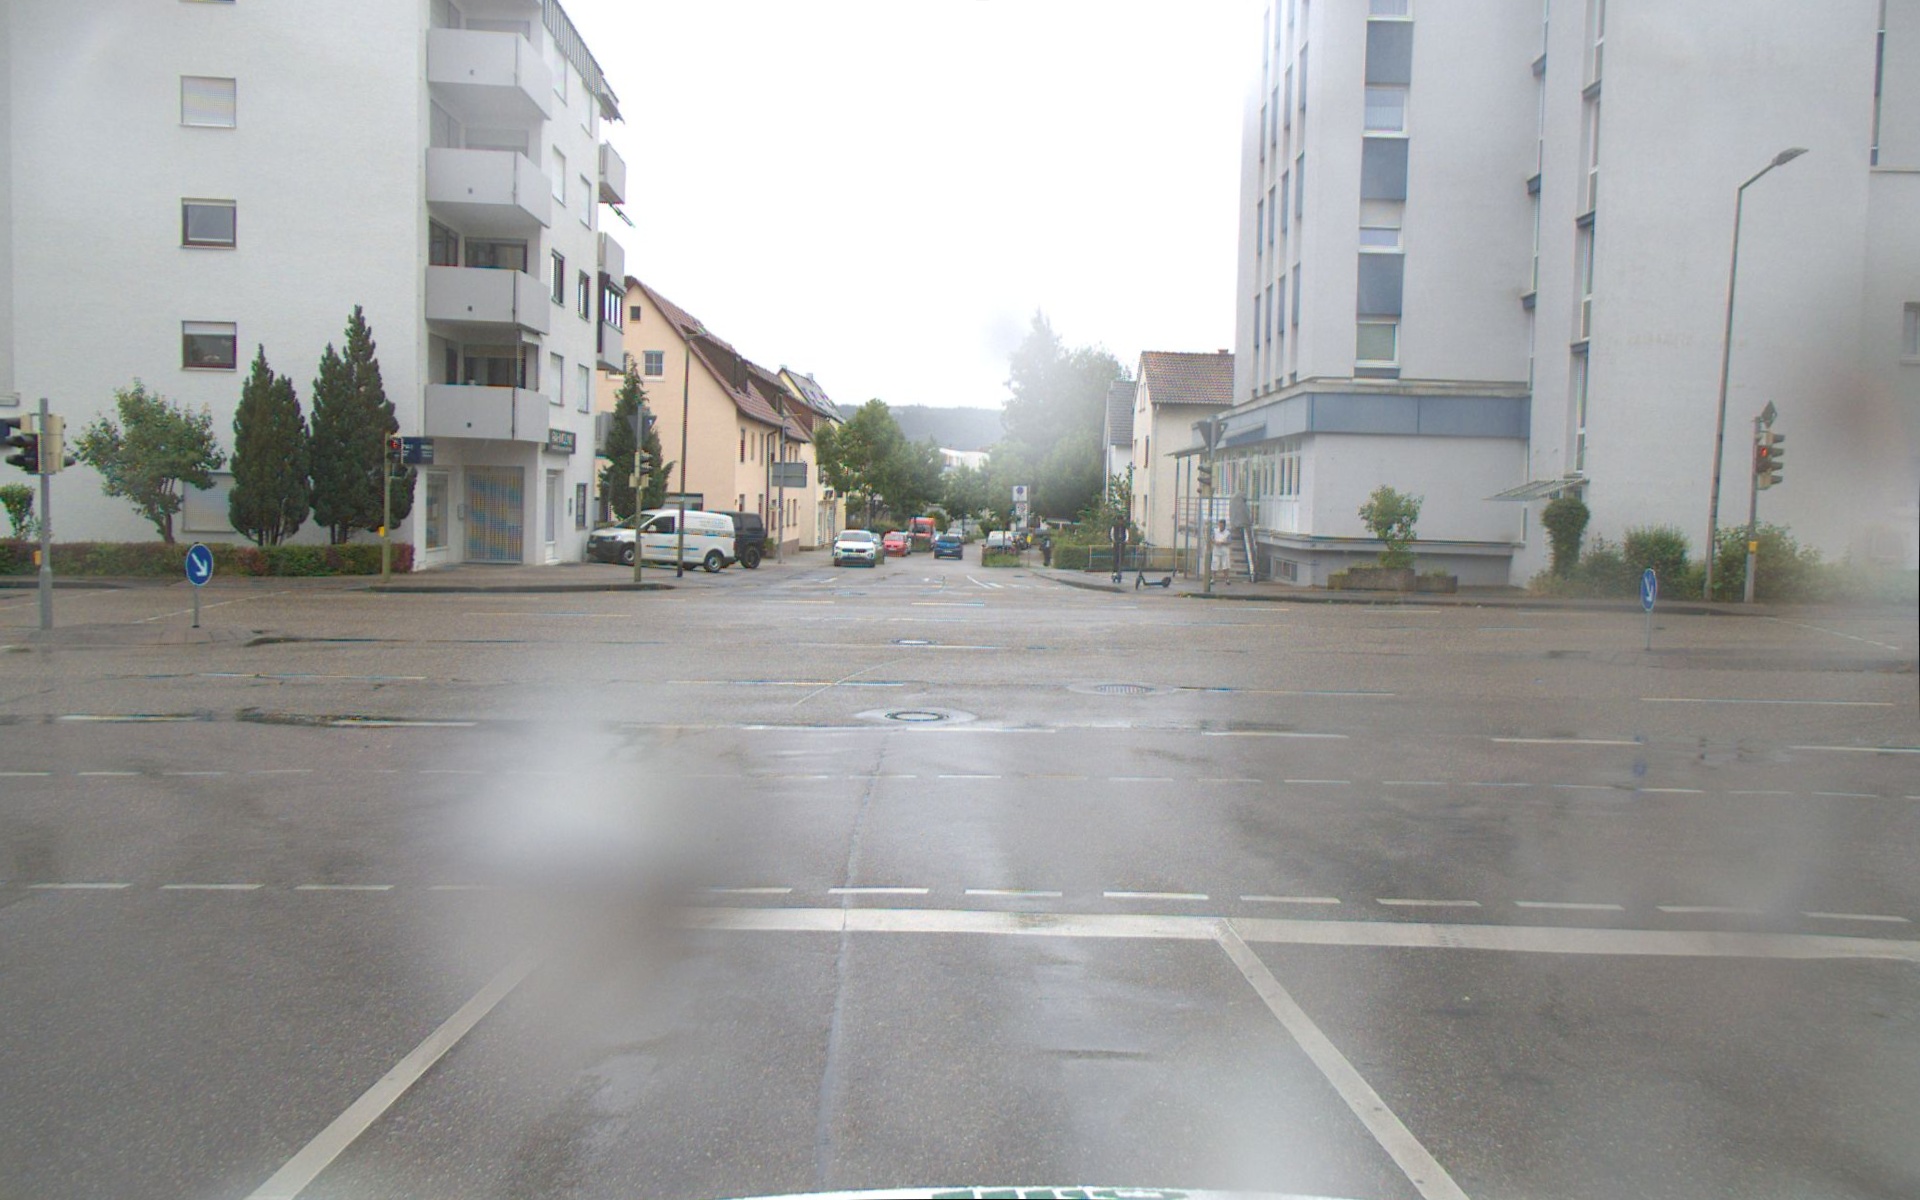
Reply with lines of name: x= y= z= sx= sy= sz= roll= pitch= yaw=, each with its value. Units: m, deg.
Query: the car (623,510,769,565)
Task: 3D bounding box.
car: x=-9.314 y=-2.190 z=58.495 sx=4.796 sy=1.867 sz=1.972 roll=-1 pitch=2 yaw=-39

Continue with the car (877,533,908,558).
car: x=-4.414 y=-3.581 z=108.385 sx=1.862 sy=1.586 sz=4.192 roll=0 pitch=2 yaw=0

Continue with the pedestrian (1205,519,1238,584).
pedestrian: x=6.918 y=-1.276 z=43.811 sx=0.635 sy=1.675 sz=0.525 roll=4 pitch=1 yaw=-7

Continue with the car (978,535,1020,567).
car: x=1.973 y=-2.560 z=85.658 sx=2.102 sy=1.616 sz=4.129 roll=0 pitch=2 yaw=0

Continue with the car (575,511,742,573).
car: x=-9.360 y=-1.797 z=51.477 sx=4.796 sy=1.867 sz=1.972 roll=-1 pitch=2 yaw=-39

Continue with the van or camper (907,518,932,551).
van or camper: x=-3.181 y=-5.121 z=130.187 sx=1.862 sy=2.557 sz=4.239 roll=0 pitch=2 yaw=0

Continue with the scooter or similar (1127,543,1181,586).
scooter or similar: x=5.012 y=-0.922 z=42.714 sx=1.243 sy=1.100 sz=0.876 roll=0 pitch=2 yaw=-5

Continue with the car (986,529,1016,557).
car: x=2.670 y=-3.705 z=107.630 sx=1.862 sy=1.775 sz=4.192 roll=0 pitch=2 yaw=0

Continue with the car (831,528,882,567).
car: x=-4.479 y=-2.287 z=71.934 sx=1.952 sy=1.654 sz=4.192 roll=0 pitch=2 yaw=0

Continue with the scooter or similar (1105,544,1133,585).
scooter or similar: x=4.711 y=-1.071 z=49.148 sx=0.741 sy=1.192 sz=1.315 roll=0 pitch=2 yaw=1

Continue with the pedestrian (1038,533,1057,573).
pedestrian: x=4.266 y=-2.303 z=80.595 sx=0.731 sy=1.880 sz=0.526 roll=4 pitch=1 yaw=-4

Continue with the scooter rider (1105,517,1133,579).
scooter rider: x=4.721 y=-1.558 z=49.138 sx=0.736 sy=1.827 sz=0.673 roll=0 pitch=1 yaw=0

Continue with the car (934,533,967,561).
car: x=-0.615 y=-3.334 z=103.693 sx=1.953 sy=1.713 sz=3.999 roll=0 pitch=2 yaw=-2

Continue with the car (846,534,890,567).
car: x=-4.623 y=-2.498 z=83.336 sx=1.952 sy=1.654 sz=4.192 roll=0 pitch=2 yaw=0
